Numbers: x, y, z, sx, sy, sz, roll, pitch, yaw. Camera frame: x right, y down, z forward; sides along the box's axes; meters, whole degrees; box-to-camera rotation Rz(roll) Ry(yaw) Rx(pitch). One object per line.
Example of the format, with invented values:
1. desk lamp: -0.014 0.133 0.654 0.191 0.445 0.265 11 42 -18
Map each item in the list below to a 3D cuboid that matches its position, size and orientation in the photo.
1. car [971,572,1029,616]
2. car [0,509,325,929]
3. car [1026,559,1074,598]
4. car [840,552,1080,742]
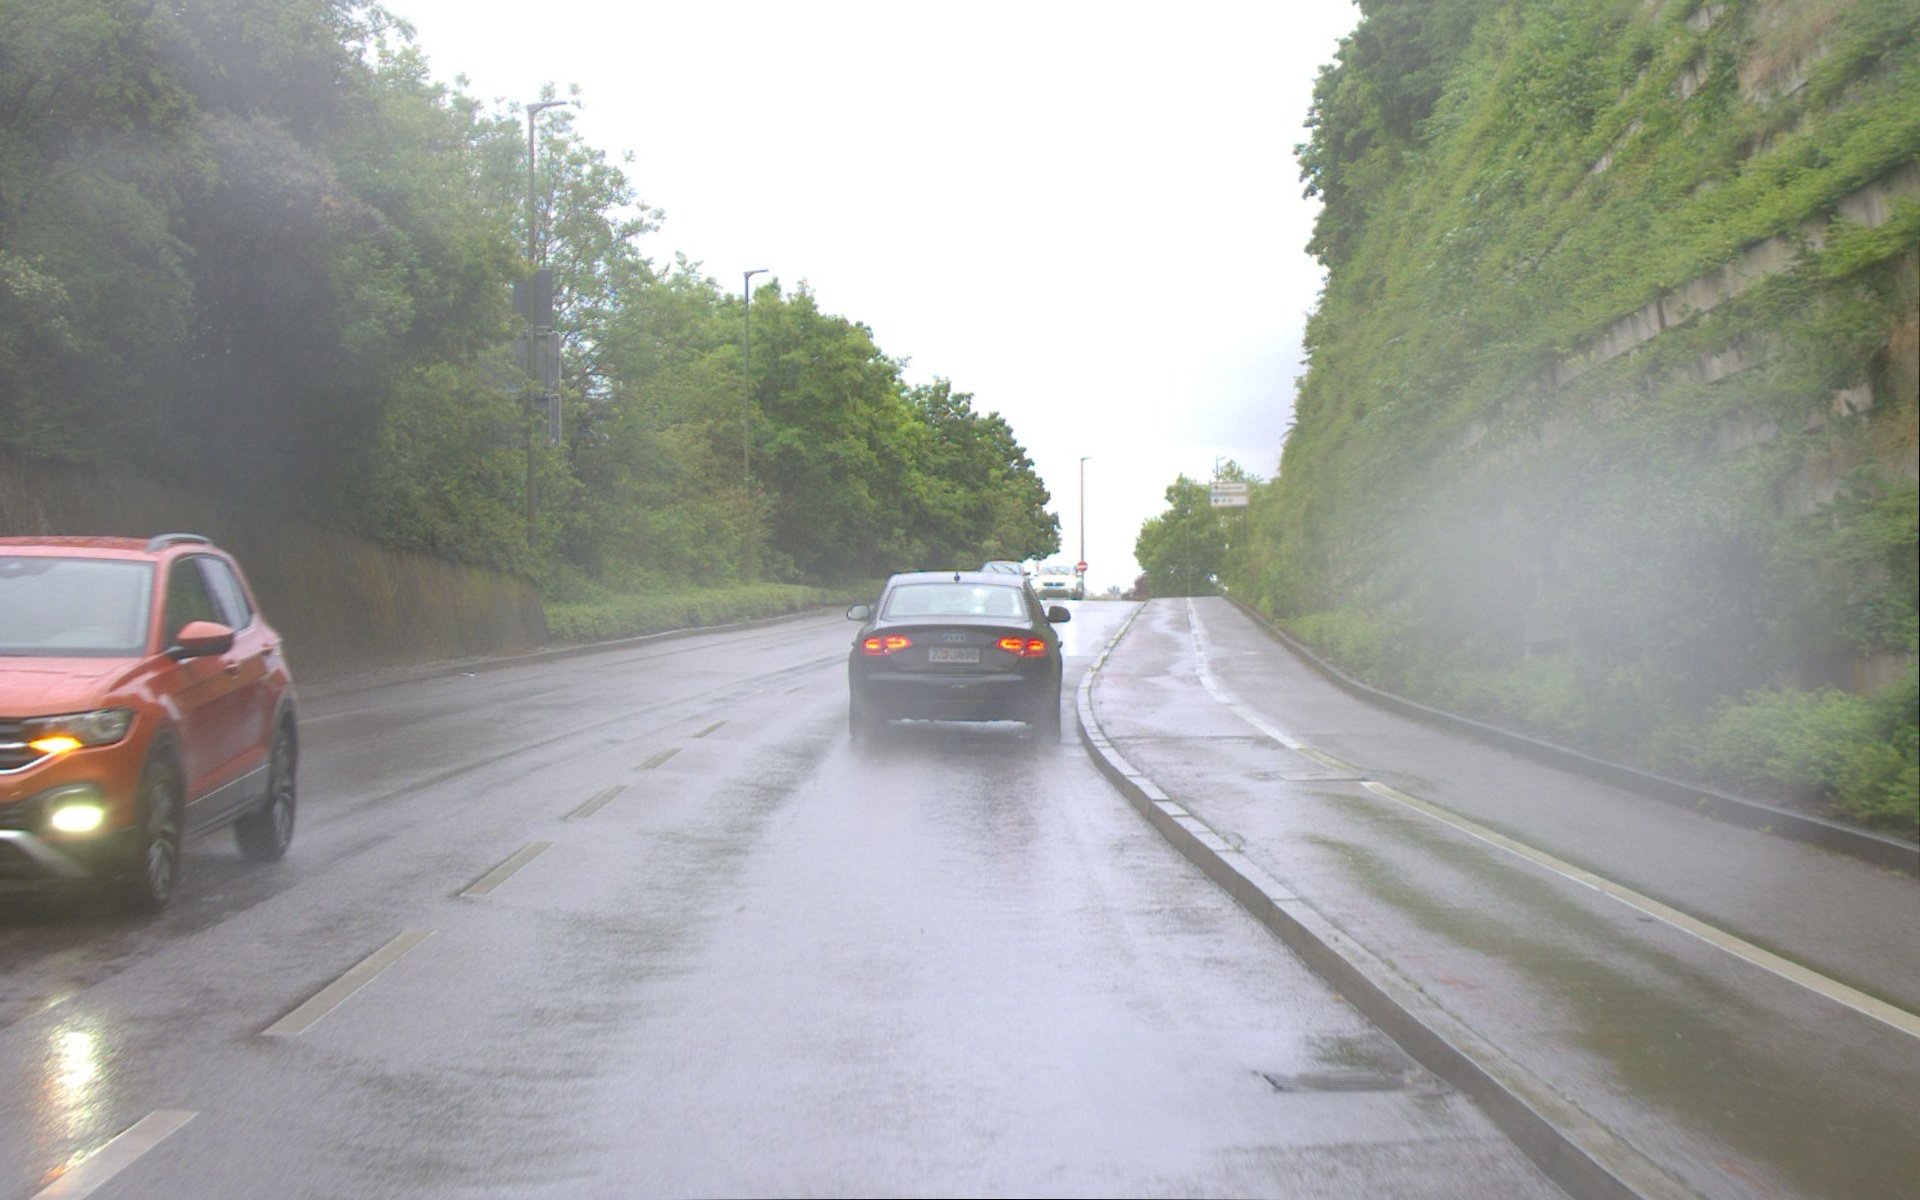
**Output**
1. car: 1.376 -0.219 117.829 1.865 1.444 4.377 -1 0 2
2. car: -4.070 0.470 15.300 1.732 1.612 4.000 -1 0 0
3. car: 3.874 -0.927 147.240 1.823 1.609 4.092 -1 0 5
4. car: 0.025 0.372 29.683 1.893 1.487 4.207 -1 0 1
